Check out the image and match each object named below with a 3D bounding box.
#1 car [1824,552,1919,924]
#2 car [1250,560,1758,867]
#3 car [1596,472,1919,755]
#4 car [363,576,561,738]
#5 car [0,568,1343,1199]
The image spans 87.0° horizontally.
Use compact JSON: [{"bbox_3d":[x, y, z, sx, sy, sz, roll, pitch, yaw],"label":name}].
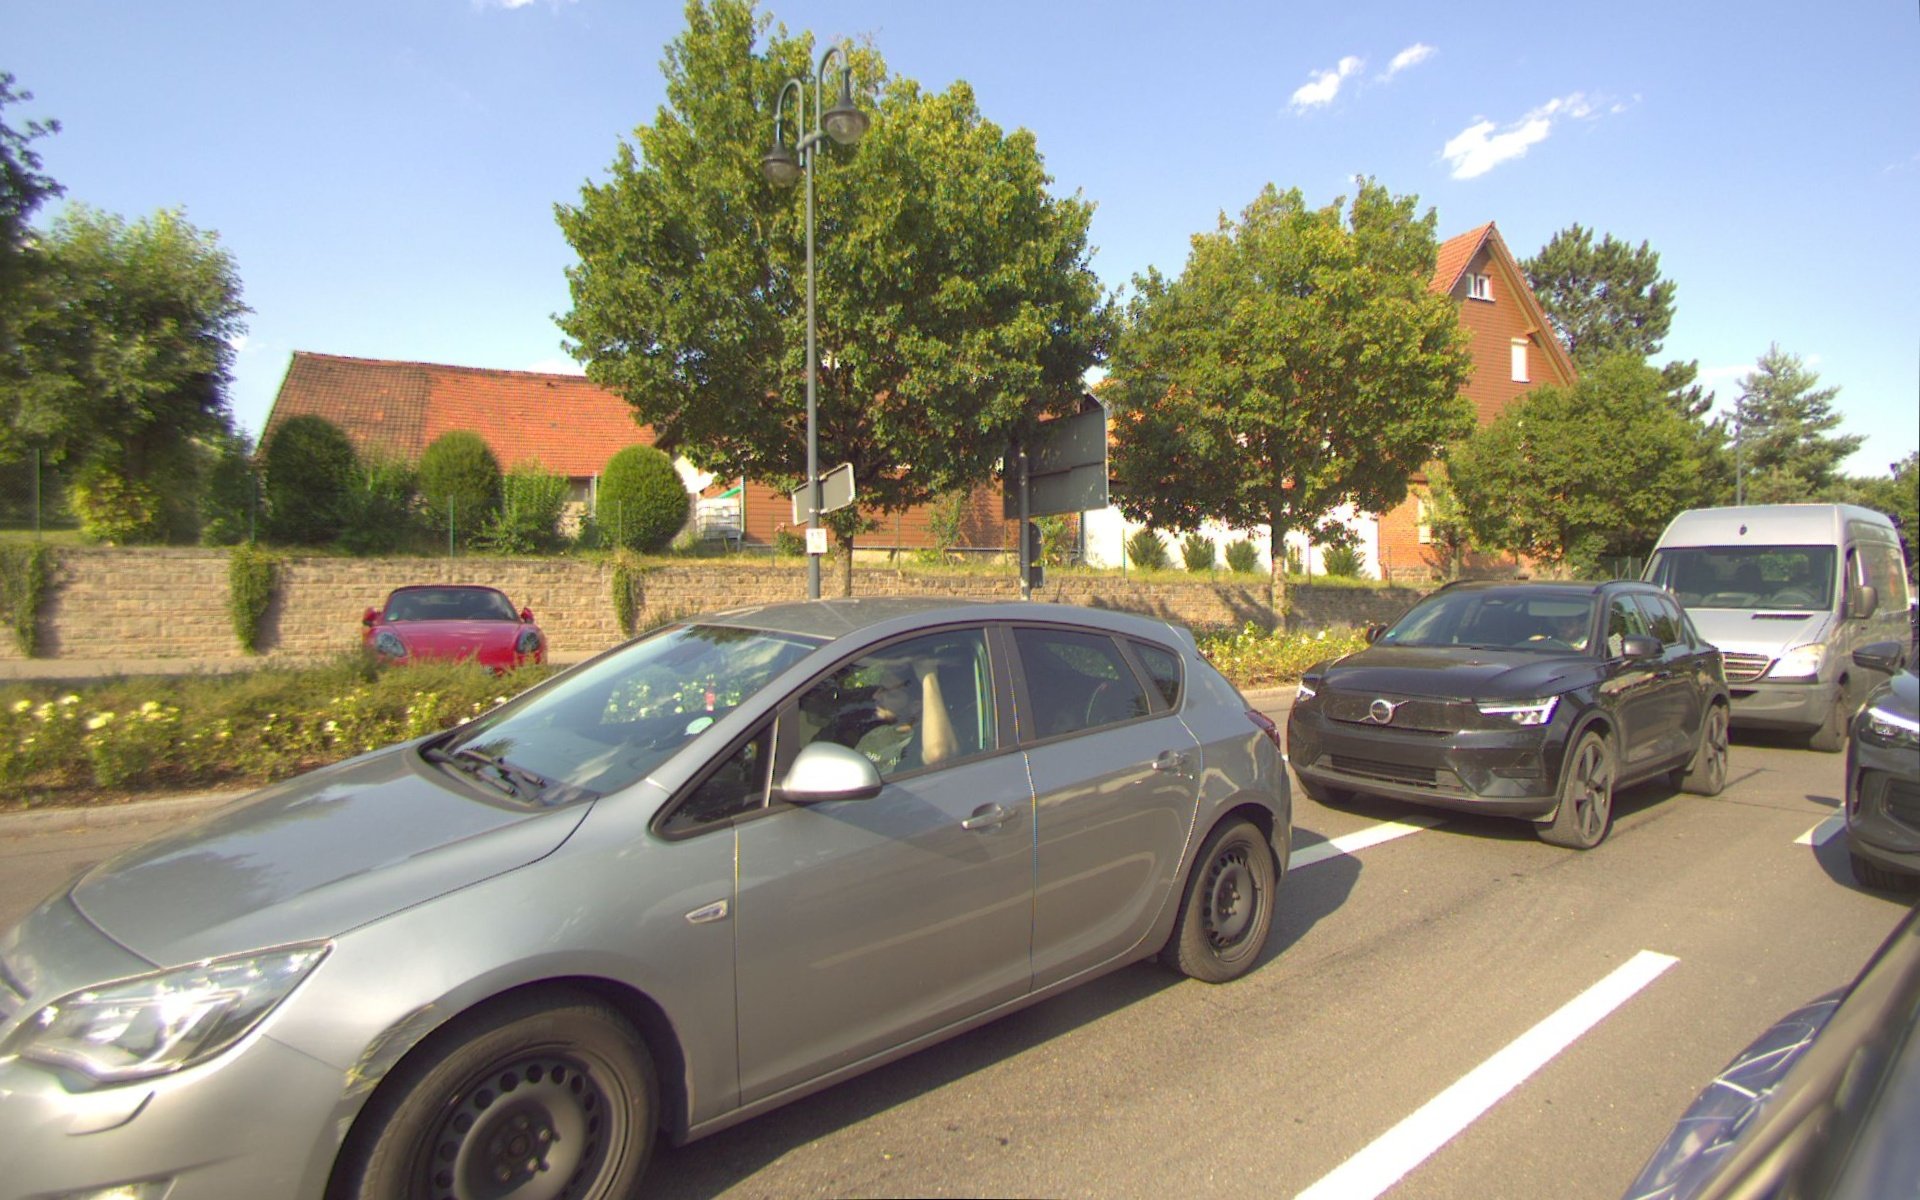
[{"bbox_3d":[6.216,0.619,5.331,4.242,1.629,1.844,0,2,-40],"label":"car"},{"bbox_3d":[4.163,0.567,7.446,4.242,1.629,1.844,0,2,-40],"label":"car"},{"bbox_3d":[9.738,0.087,11.971,5.938,2.601,1.992,0,1,-40],"label":"car"},{"bbox_3d":[-5.894,0.523,11.709,1.743,1.510,4.156,0,0,-31],"label":"car"},{"bbox_3d":[-0.557,0.666,3.517,4.244,1.471,1.765,0,2,-42],"label":"car"}]
